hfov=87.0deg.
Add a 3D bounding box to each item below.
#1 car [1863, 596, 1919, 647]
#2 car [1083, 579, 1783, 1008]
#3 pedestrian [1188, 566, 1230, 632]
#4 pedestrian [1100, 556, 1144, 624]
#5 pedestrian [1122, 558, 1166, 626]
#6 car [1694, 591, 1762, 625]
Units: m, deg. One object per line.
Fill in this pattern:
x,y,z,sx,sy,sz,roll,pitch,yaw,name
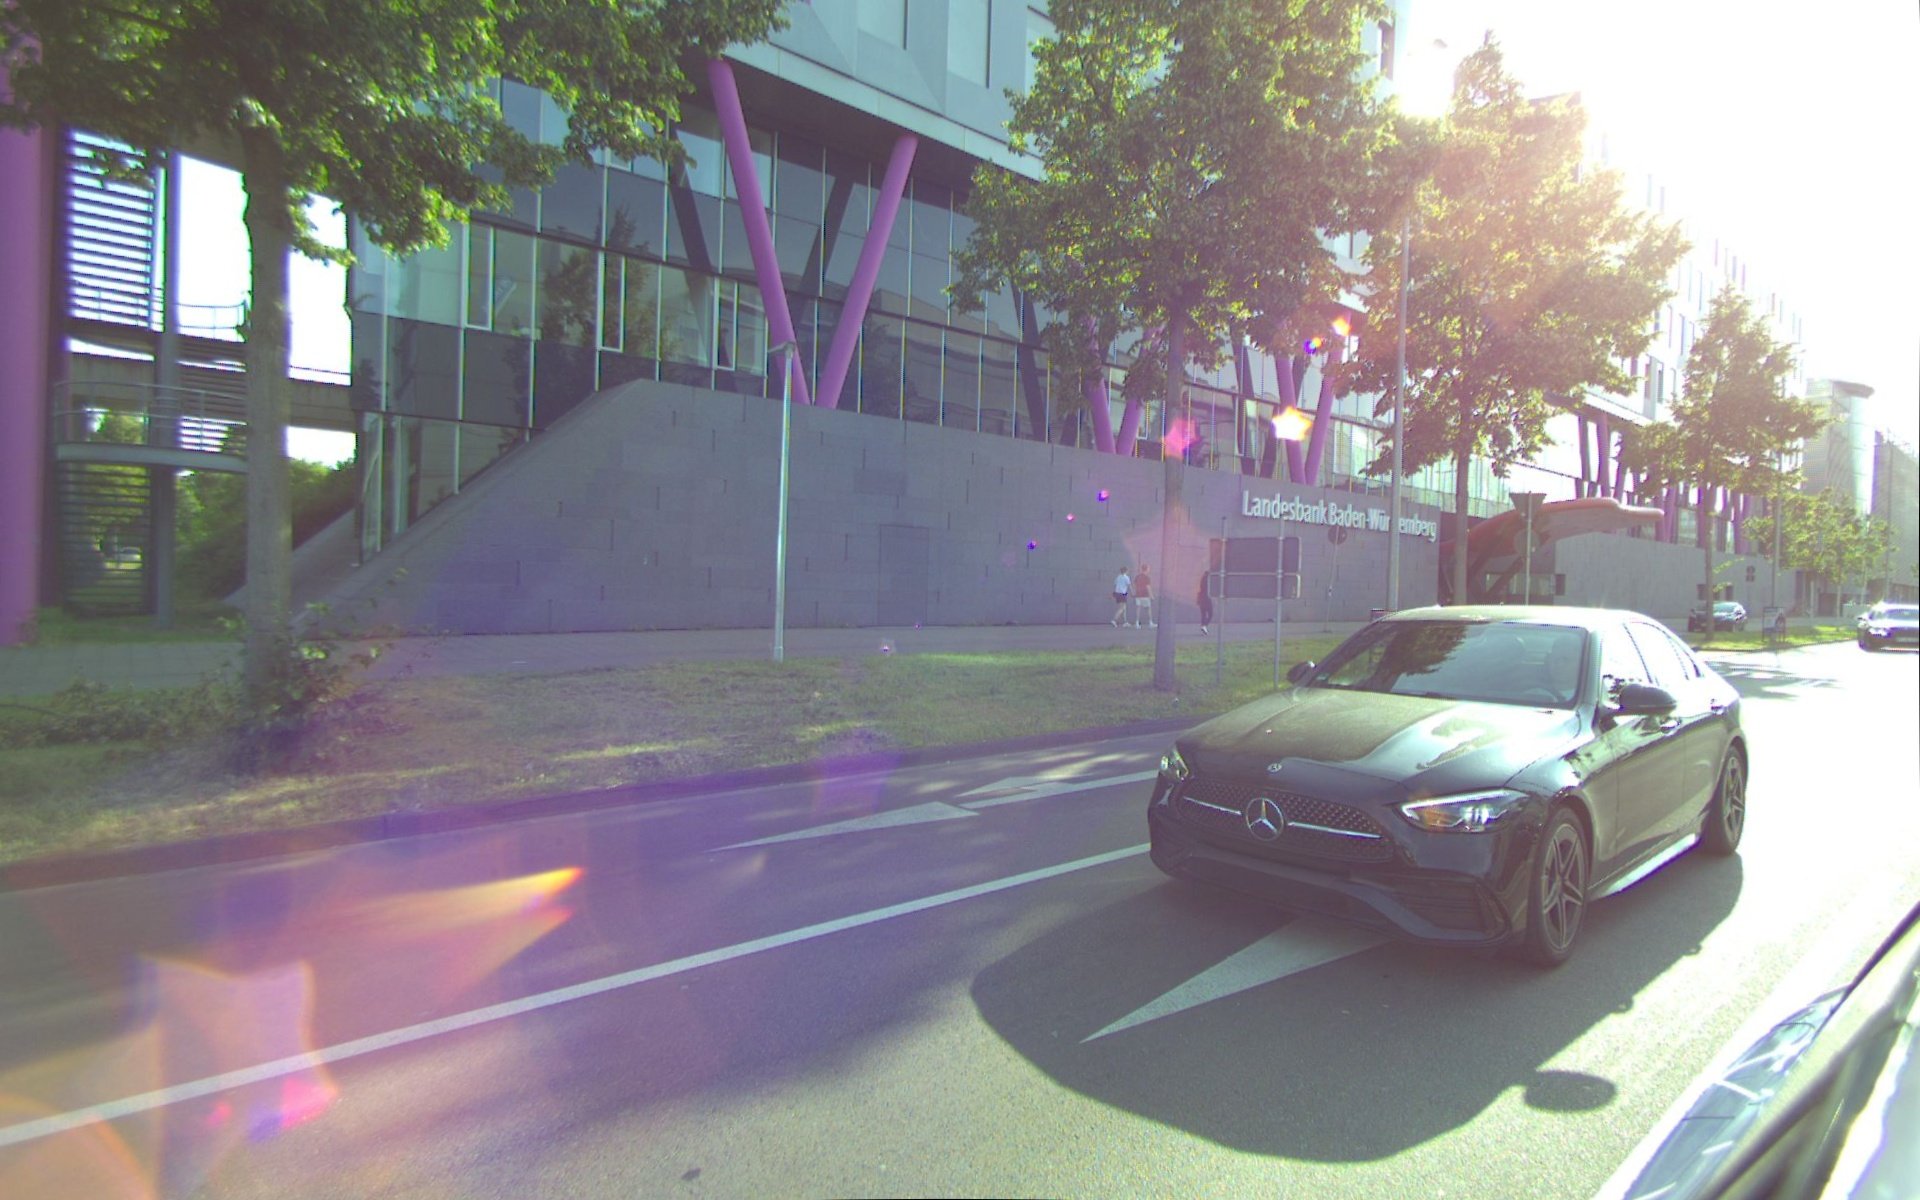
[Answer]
30.023,0.635,31.996,1.886,1.444,4.412,1,1,38,car
2.892,0.673,5.630,4.475,1.468,1.842,1,0,-41,car
6.528,-0.039,26.535,0.724,1.658,0.695,1,3,-41,pedestrian
4.538,-0.291,28.312,0.838,1.847,0.769,1,3,-41,pedestrian
5.054,-0.225,27.852,0.829,1.815,0.756,1,3,-41,pedestrian
34.839,0.379,45.898,4.126,1.407,1.694,1,1,-42,car
